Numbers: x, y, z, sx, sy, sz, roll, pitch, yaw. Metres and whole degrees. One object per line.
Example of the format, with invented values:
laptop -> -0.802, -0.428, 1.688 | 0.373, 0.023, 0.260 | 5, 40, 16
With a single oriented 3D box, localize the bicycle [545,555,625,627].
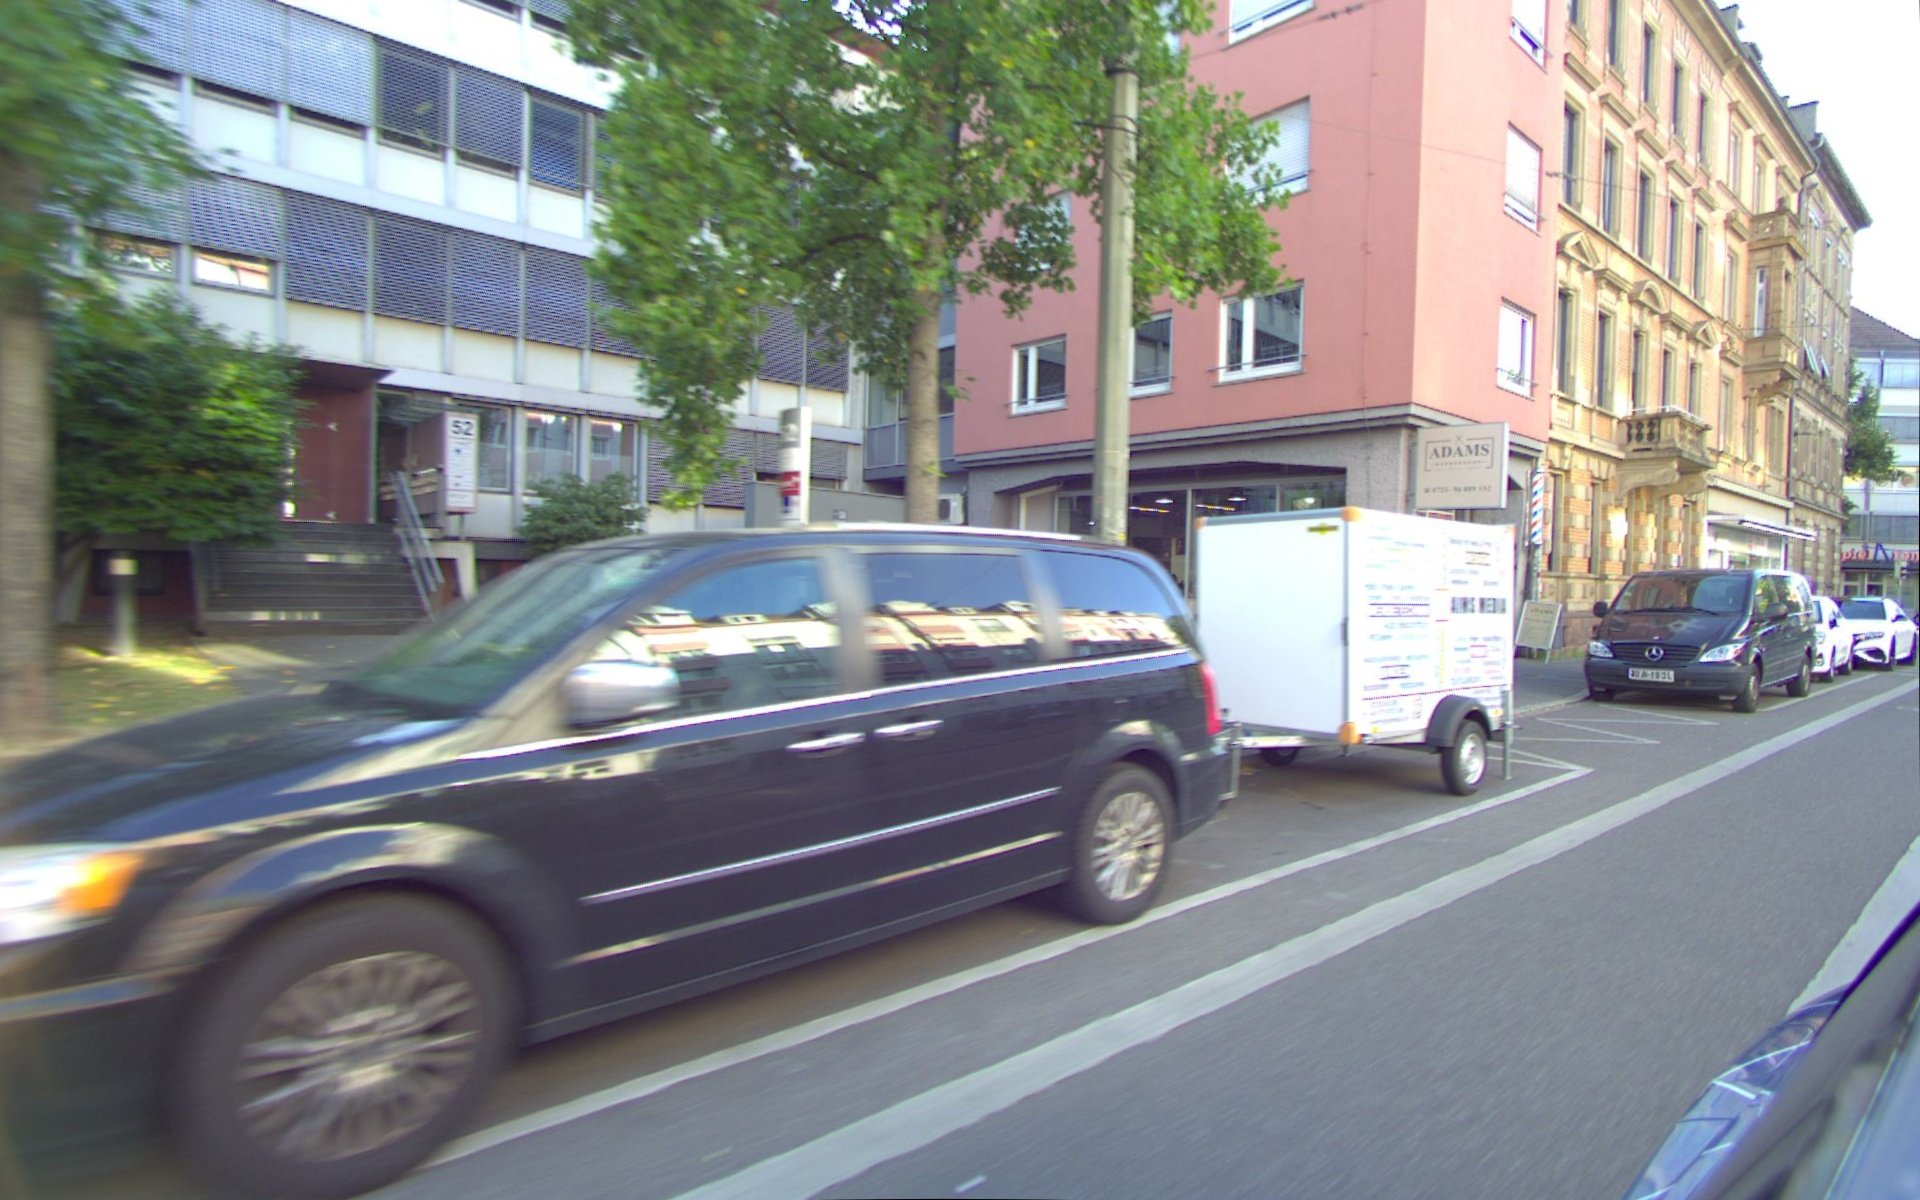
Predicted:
bicycle -> -7.319, -0.201, 19.672 | 0.846, 1.204, 2.328 | 1, 4, -36

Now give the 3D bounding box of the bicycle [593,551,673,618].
bicycle -> -6.636, -0.331, 20.463 | 0.846, 1.166, 2.328 | 1, 4, -36

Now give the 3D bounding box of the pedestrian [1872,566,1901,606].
pedestrian -> 41.173, -0.610, 44.978 | 1.015, 1.686, 0.785 | 3, 0, -40

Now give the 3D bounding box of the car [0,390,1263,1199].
car -> -1.019, 0.482, 4.094 | 5.092, 1.810, 1.952 | 0, 0, -42

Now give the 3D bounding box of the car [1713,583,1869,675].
car -> 15.457, 0.479, 18.761 | 3.894, 1.515, 1.733 | 0, 0, -43

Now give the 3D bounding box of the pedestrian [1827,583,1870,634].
pedestrian -> 29.234, 0.271, 33.296 | 0.897, 1.585, 0.778 | 1, 4, -38

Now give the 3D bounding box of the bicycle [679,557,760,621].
bicycle -> -5.198, -0.262, 21.733 | 0.846, 1.185, 2.328 | 1, 4, -36

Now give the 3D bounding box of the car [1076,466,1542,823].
car -> 2.819, 0.236, 7.880 | 3.639, 2.146, 1.710 | 0, 1, -38

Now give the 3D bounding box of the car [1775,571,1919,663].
car -> 19.560, 0.314, 22.013 | 4.788, 1.794, 1.971 | 0, 1, -40

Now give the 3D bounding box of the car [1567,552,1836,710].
car -> 10.670, 0.367, 14.420 | 4.899, 1.892, 1.959 | 0, 0, -40

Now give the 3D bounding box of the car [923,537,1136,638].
car -> 1.313, -0.312, 20.349 | 4.033, 1.668, 1.749 | 7, 4, 44
